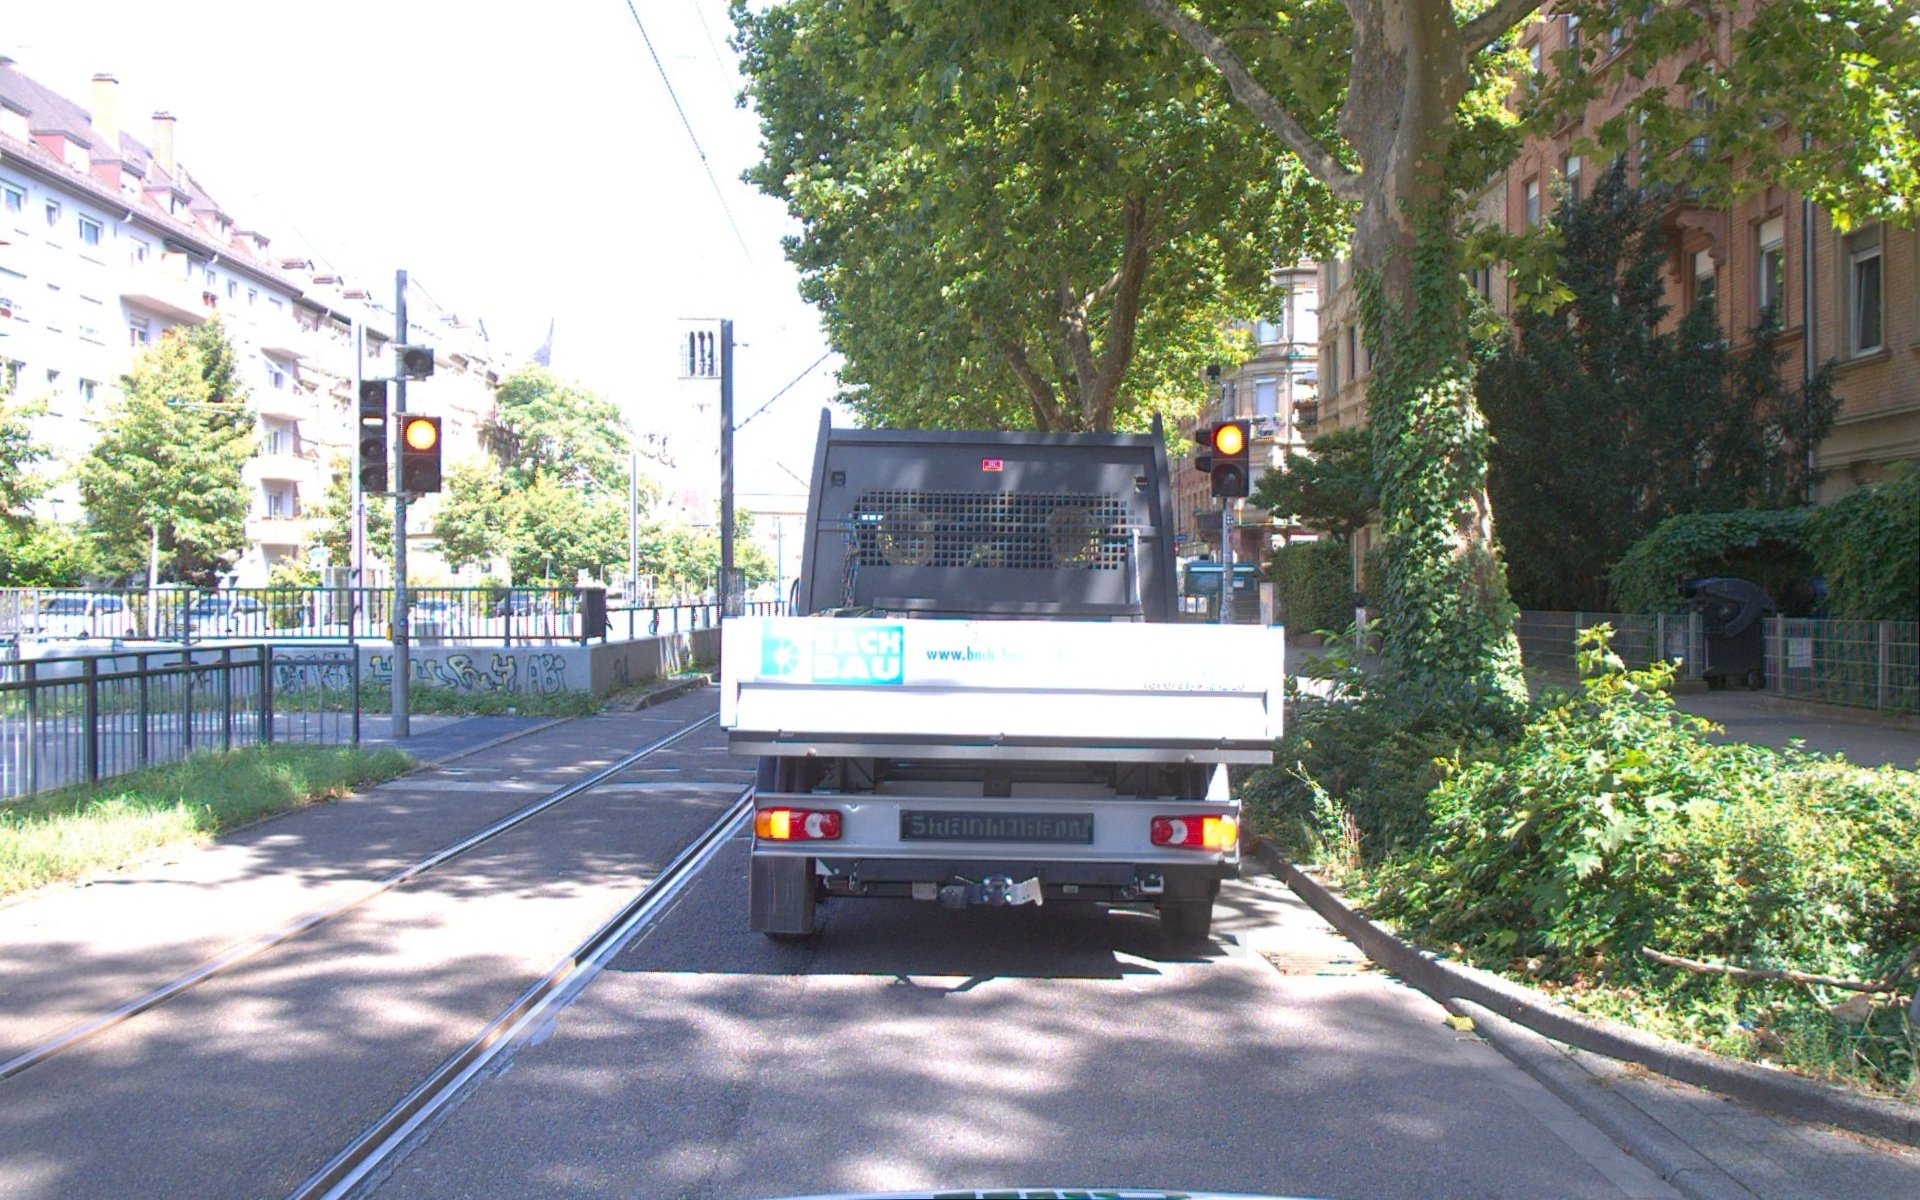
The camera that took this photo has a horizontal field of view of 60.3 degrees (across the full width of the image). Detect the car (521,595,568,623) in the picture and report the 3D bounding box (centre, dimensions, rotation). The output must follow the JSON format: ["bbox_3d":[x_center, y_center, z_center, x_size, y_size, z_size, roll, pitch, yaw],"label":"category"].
[{"bbox_3d":[-23.175,0.491,92.300,1.735,1.524,3.998,0,0,-2],"label":"car"}]

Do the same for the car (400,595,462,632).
[{"bbox_3d":[-22.653,0.547,70.954,1.736,1.524,3.994,0,0,-6],"label":"car"}]

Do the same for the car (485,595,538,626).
[{"bbox_3d":[-22.892,0.512,84.468,1.735,1.524,3.998,0,0,-2],"label":"car"}]

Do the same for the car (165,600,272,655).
[{"bbox_3d":[-22.126,0.788,49.475,1.737,1.524,3.994,-2,0,-6],"label":"car"}]

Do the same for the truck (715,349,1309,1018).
[{"bbox_3d":[0.190,0.288,8.074,2.094,2.359,4.401,0,0,0],"label":"truck"}]

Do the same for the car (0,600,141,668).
[{"bbox_3d":[-21.944,0.808,40.898,1.737,1.524,3.994,-2,0,-6],"label":"car"}]
